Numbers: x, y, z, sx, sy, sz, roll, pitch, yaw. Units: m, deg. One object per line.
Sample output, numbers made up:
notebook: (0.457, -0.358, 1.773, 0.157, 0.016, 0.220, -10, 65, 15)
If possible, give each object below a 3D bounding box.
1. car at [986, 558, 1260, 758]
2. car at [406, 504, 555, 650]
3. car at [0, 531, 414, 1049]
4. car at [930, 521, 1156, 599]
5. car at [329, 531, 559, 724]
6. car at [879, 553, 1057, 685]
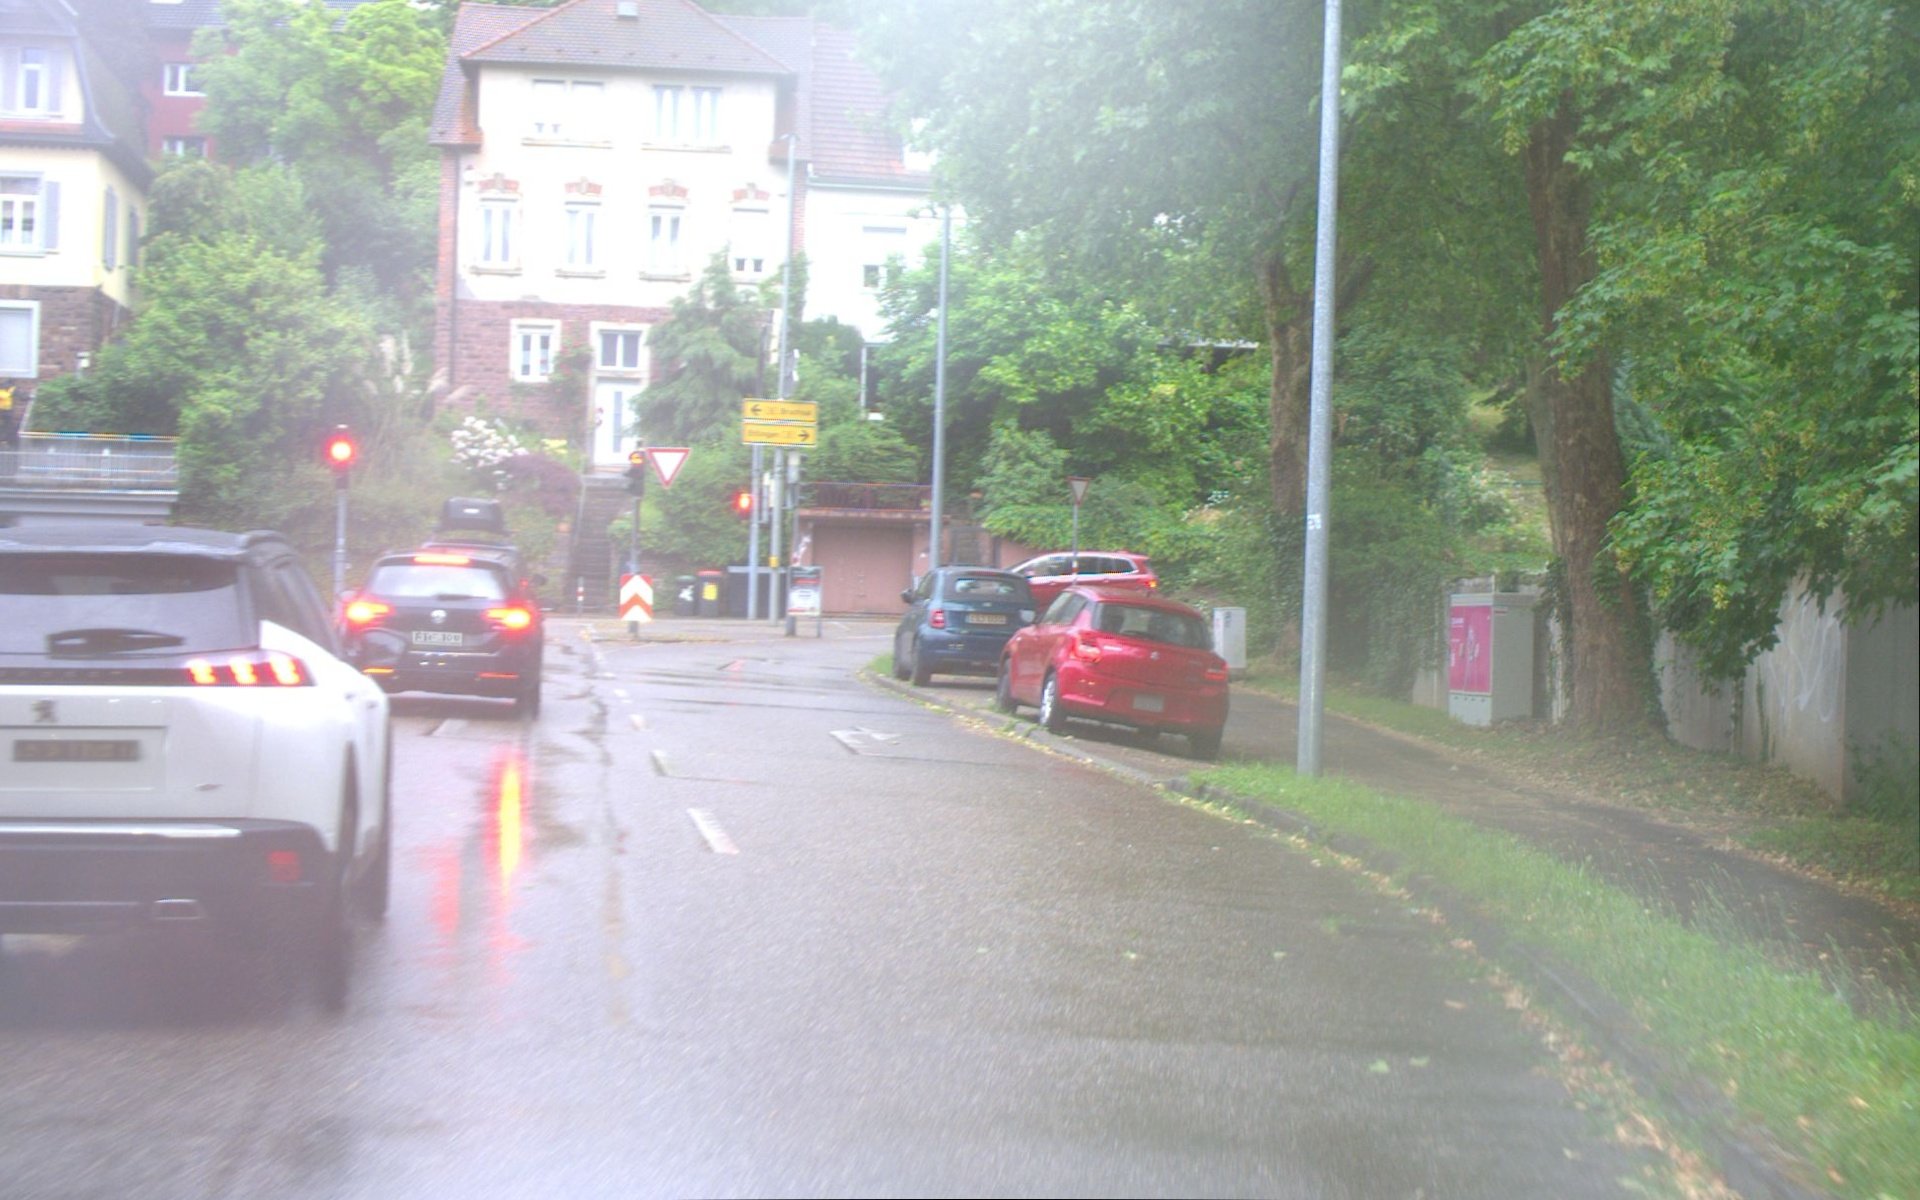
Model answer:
car: (1.557, 0.527, 34.289, 1.819, 1.512, 3.744, 8, 1, -9)
car: (-6.277, -0.343, 45.048, 1.760, 1.705, 4.602, 3, 2, -8)
car: (-2.946, 0.522, 12.341, 1.752, 1.530, 4.368, 0, 1, -7)
car: (1.711, -0.827, 72.147, 4.567, 1.595, 1.775, 0, 0, -5)
car: (-4.669, 0.190, 31.645, 1.831, 1.451, 4.660, 4, 2, -7)
car: (0.061, 0.204, 43.597, 1.749, 1.486, 3.600, 4, 0, -7)
